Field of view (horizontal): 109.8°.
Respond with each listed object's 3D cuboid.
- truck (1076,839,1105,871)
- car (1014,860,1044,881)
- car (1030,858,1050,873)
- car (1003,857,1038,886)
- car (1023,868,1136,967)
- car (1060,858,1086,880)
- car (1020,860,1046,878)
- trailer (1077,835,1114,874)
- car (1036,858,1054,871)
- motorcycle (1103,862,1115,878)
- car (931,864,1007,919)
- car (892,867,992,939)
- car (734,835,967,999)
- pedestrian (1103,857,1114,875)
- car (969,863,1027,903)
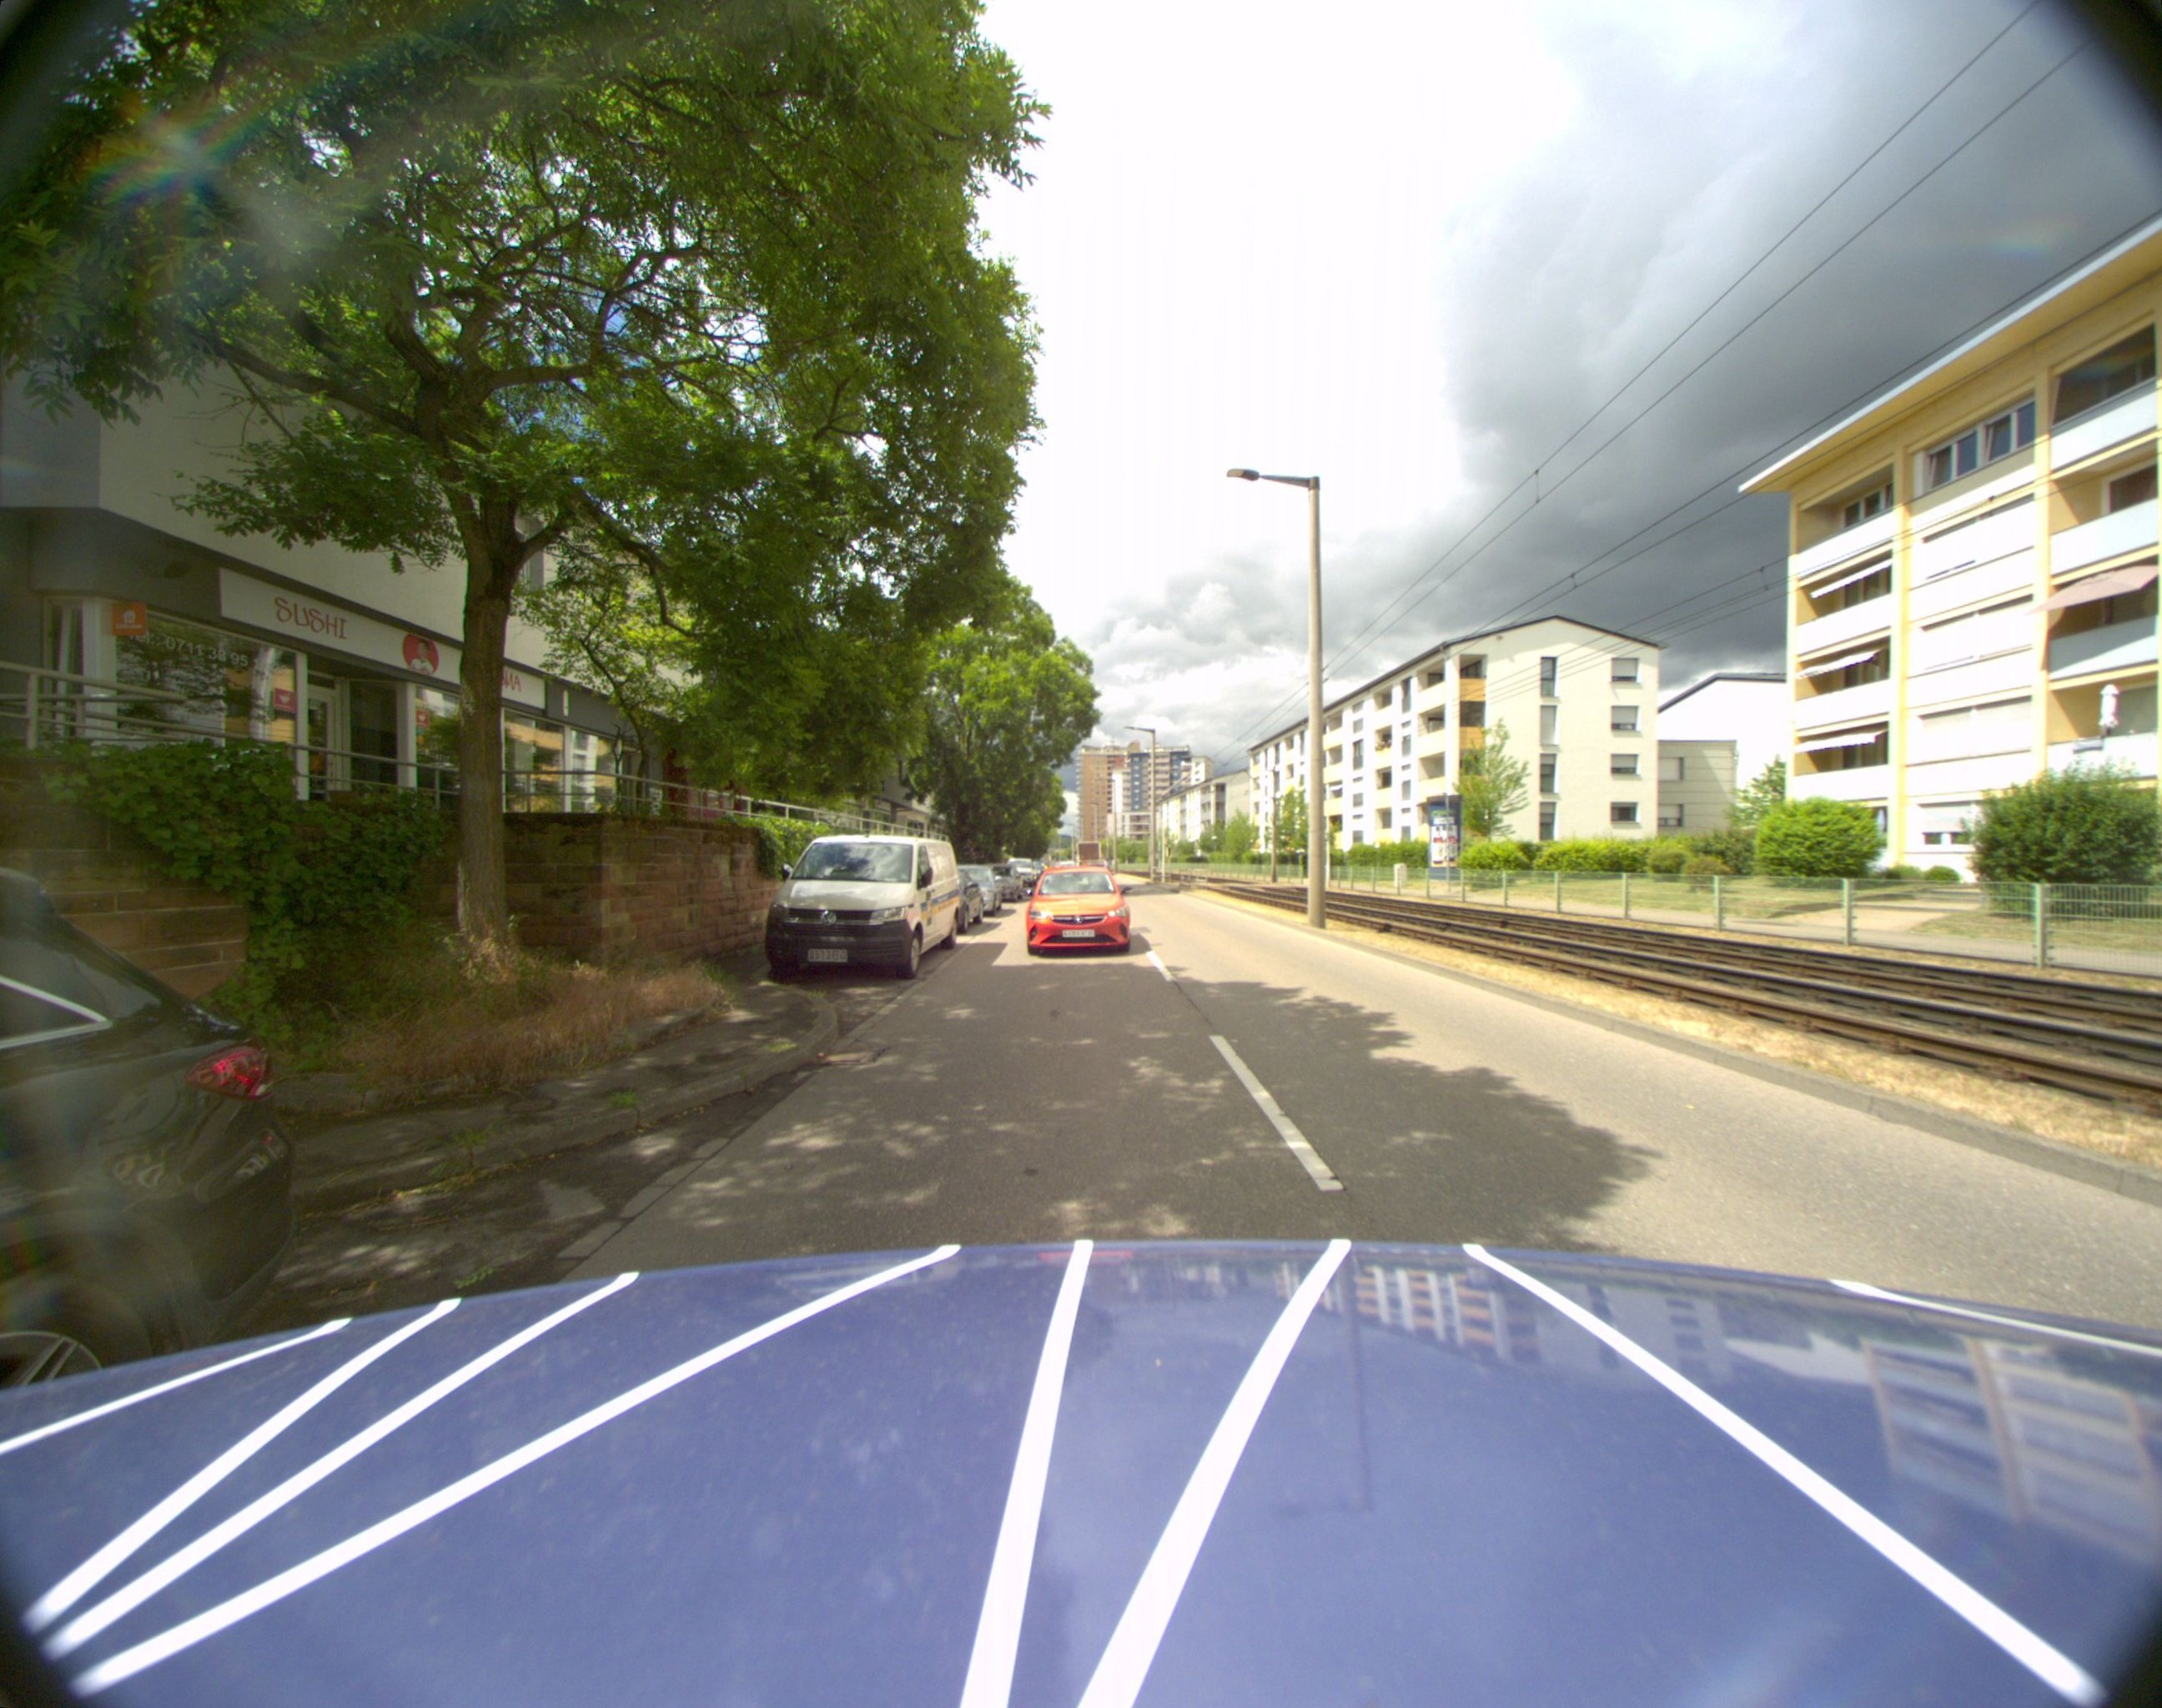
[{"bbox_3d":[1.000,0.090,85.421,2.853,3.428,4.414,-2,0,-3],"label":"truck"},{"bbox_3d":[-3.718,1.149,54.874,1.784,1.420,4.147,-1,0,0],"label":"car"},{"bbox_3d":[-4.227,1.161,78.923,1.784,1.420,4.147,-1,0,0],"label":"car"},{"bbox_3d":[-3.534,0.992,44.989,1.819,1.643,4.146,0,0,-2],"label":"car"},{"bbox_3d":[0.019,1.022,13.764,1.723,1.434,4.000,-2,0,1],"label":"car"},{"bbox_3d":[-0.654,1.143,59.031,1.927,1.543,3.999,-2,0,-2],"label":"car"},{"bbox_3d":[-3.865,1.186,61.664,1.784,1.420,4.147,-1,0,0],"label":"car"},{"bbox_3d":[1.311,0.058,77.582,2.875,3.428,14.612,-2,0,-2],"label":"trailer"},{"bbox_3d":[-4.035,1.175,86.030,1.784,1.420,4.147,-1,0,0],"label":"car"},{"bbox_3d":[2.213,1.245,60.186,0.783,1.181,1.869,-1,0,-1],"label":"motorcycle"},{"bbox_3d":[-3.254,1.050,22.773,1.785,1.420,4.144,2,0,-2],"label":"car"},{"bbox_3d":[-3.105,1.054,17.600,1.578,1.420,3.735,-1,0,0],"label":"car"},{"bbox_3d":[-3.155,0.769,11.660,1.978,1.958,5.013,-1,0,0],"label":"car"},{"bbox_3d":[2.190,0.926,60.234,0.737,1.408,0.927,-2,0,-1],"label":"pedestrian"},{"bbox_3d":[-3.146,1.079,29.587,1.784,1.420,4.147,0,0,0],"label":"car"}]
